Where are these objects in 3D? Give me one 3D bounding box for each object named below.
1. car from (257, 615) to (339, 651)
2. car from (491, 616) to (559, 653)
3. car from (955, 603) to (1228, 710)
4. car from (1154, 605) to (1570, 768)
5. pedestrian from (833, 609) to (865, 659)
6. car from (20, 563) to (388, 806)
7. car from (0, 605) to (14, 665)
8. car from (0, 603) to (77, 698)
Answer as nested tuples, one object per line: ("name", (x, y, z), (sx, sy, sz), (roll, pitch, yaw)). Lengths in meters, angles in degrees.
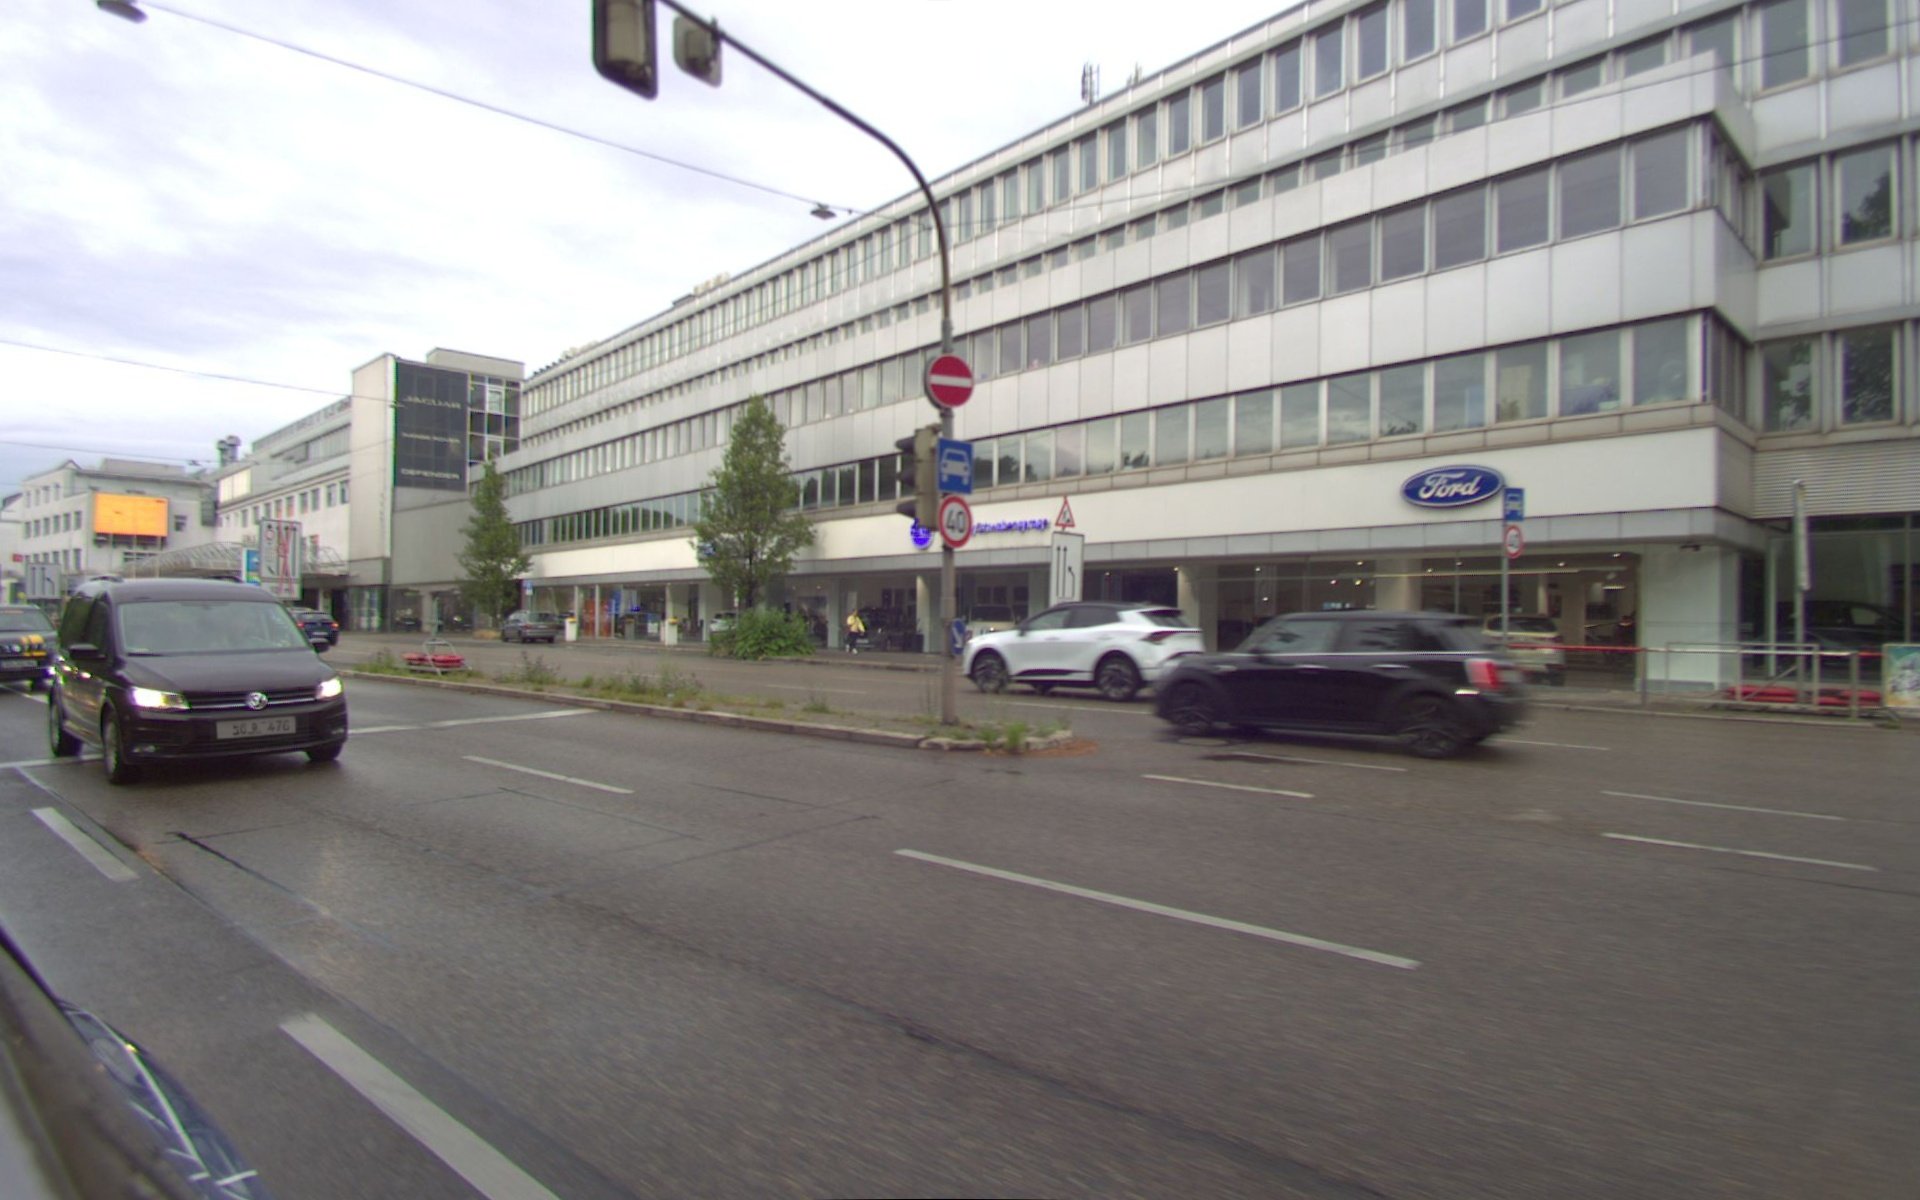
("car", (-27.471, 1.354, 41.926), (4.211, 1.430, 1.669), (-1, -2, 40))
("car", (-23.674, 1.823, 55.012), (4.167, 1.829, 1.896), (-1, 1, 45))
("car", (2.181, 0.888, 17.619), (4.454, 1.622, 1.870), (-1, -1, 41))
("car", (4.200, 0.802, 10.913), (3.860, 1.447, 1.665), (-1, -2, 41))
("pedestrian", (-4.079, 1.246, 37.164), (0.751, 1.788, 0.864), (-2, 1, -44))
("car", (-7.443, 0.631, 9.794), (4.427, 1.828, 1.881), (-1, 1, 40))
("car", (-28.271, 1.001, 28.462), (4.327, 1.611, 1.792), (-1, 1, 38))
("car", (-18.238, 0.903, 19.040), (4.330, 1.611, 1.791), (-1, 1, 40))
